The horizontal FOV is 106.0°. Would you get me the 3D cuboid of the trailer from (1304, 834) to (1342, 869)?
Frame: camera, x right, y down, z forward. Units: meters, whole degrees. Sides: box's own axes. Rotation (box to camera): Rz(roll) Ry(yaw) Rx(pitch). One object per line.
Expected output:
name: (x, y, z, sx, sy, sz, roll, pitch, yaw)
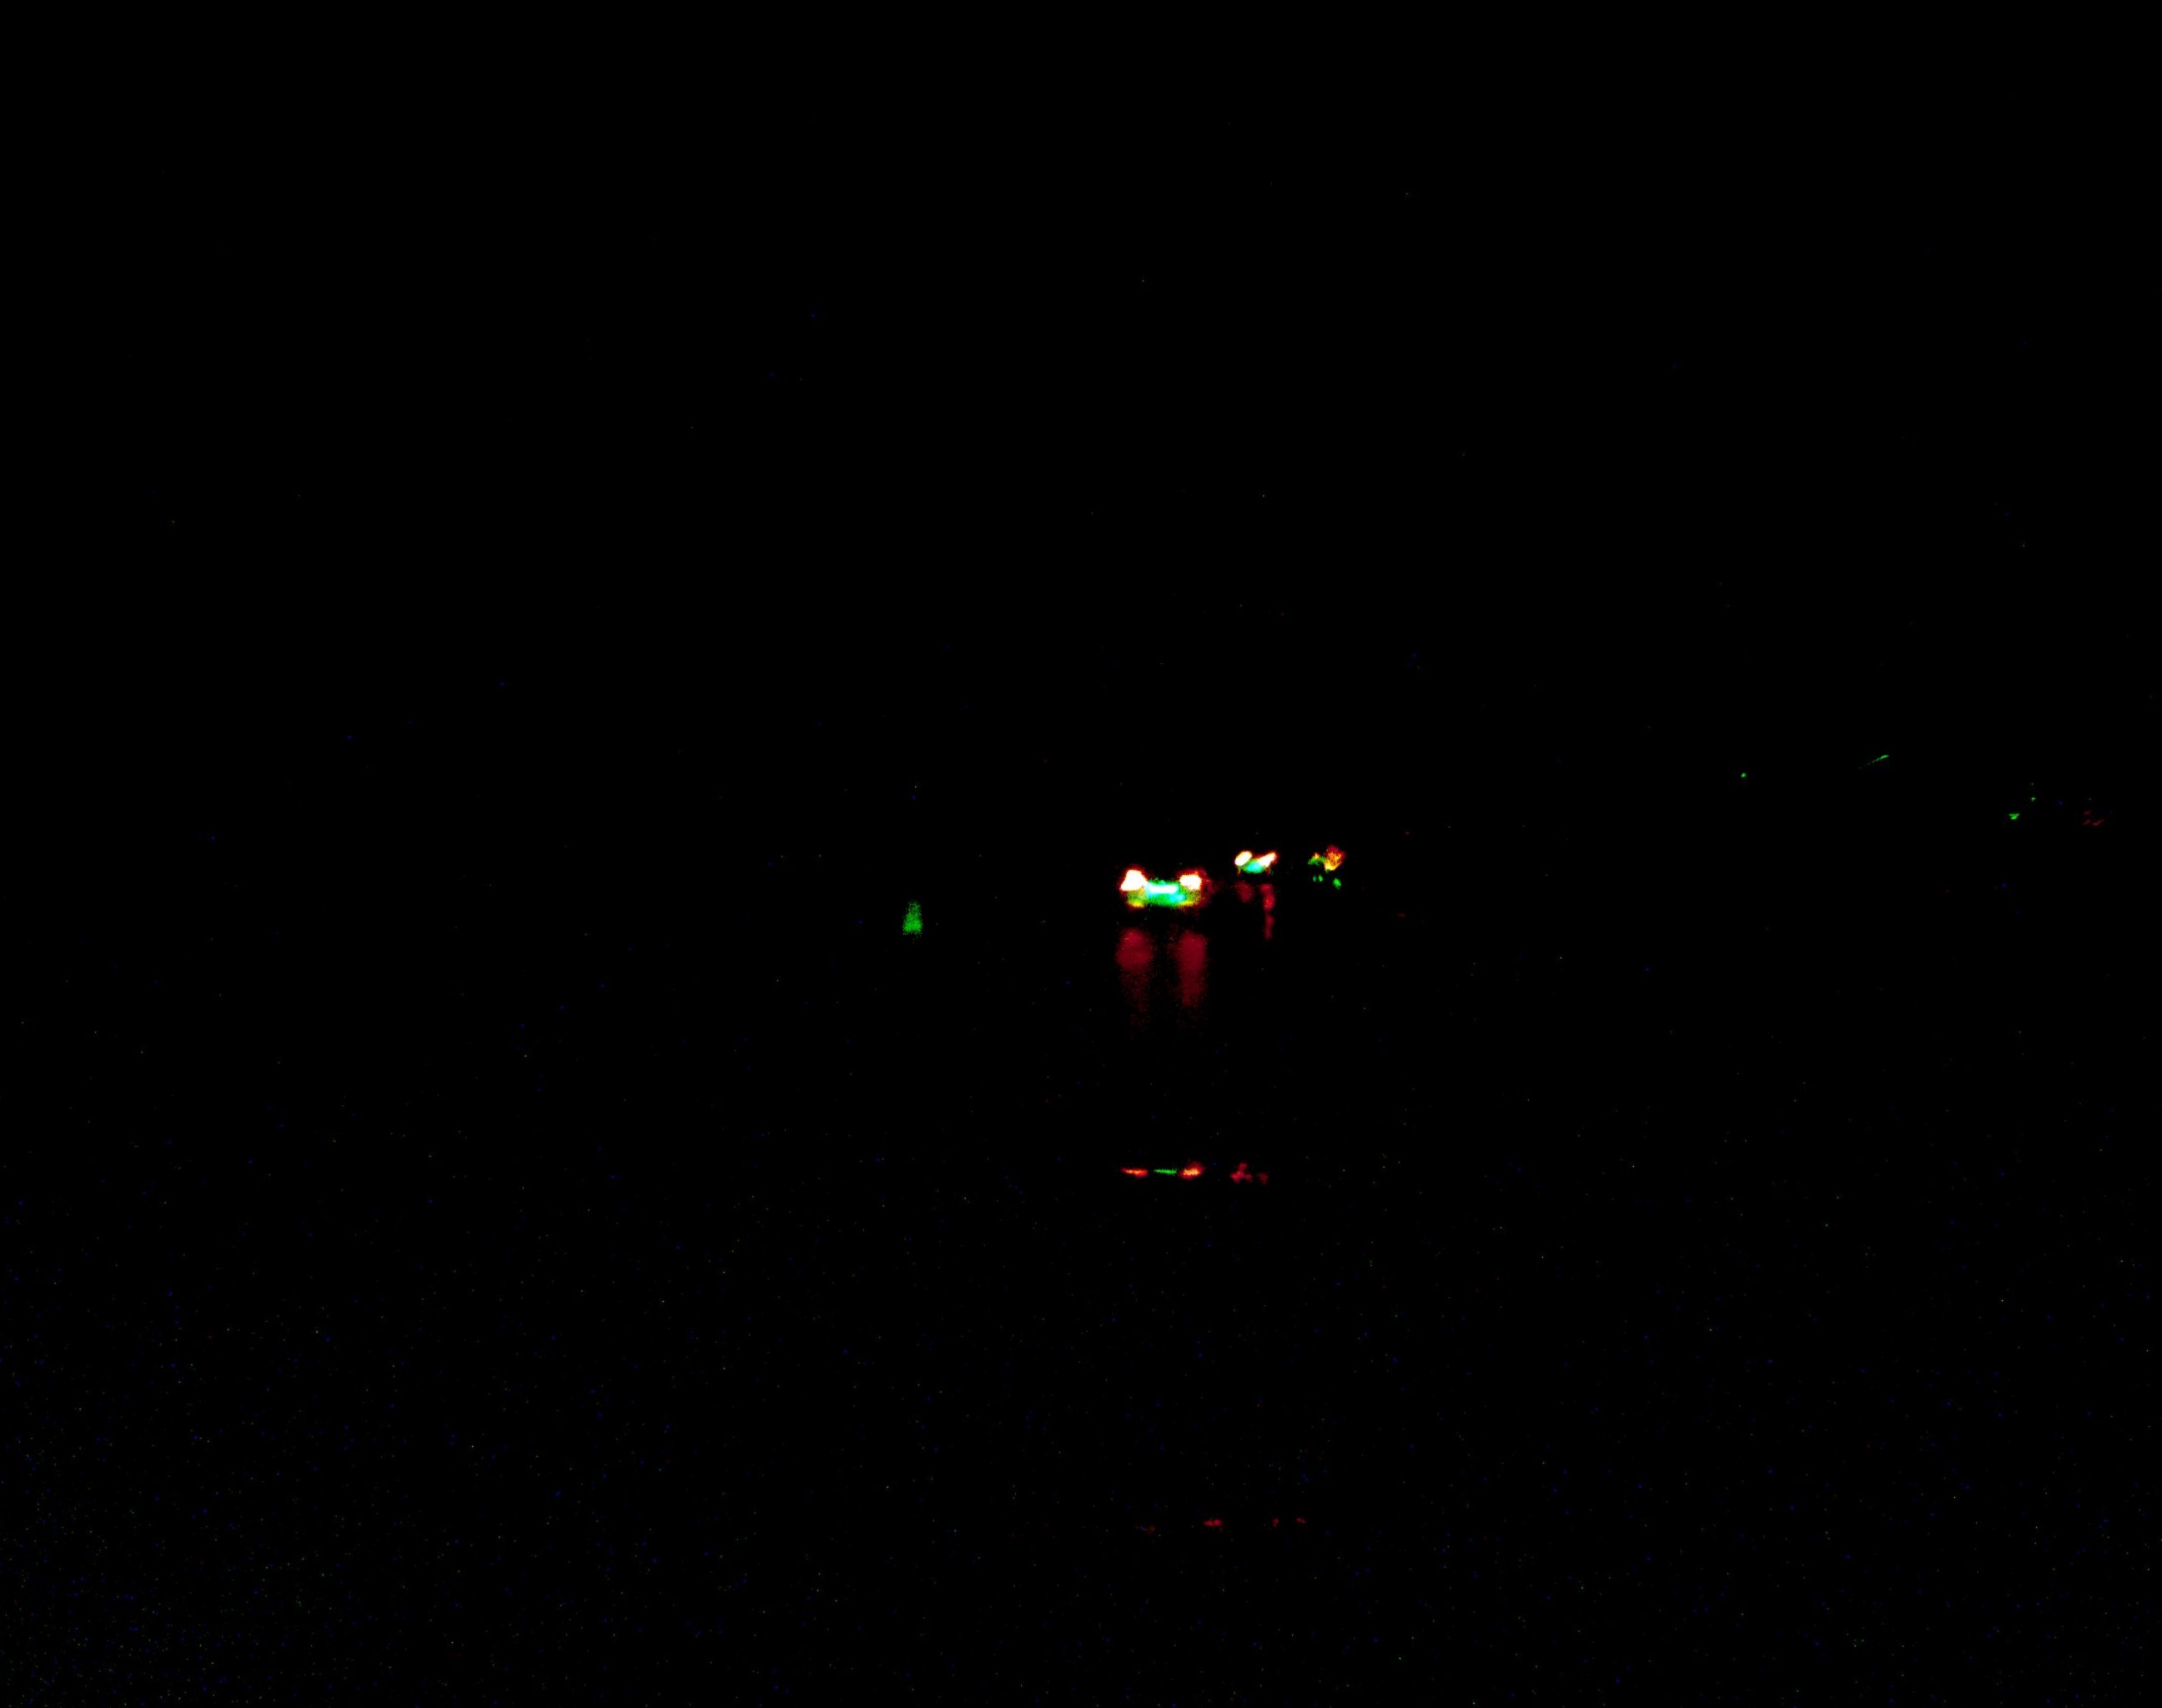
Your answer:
trailer: (16.288, -0.046, 54.821, 2.062, 2.014, 10.693, -4, -2, 17)
